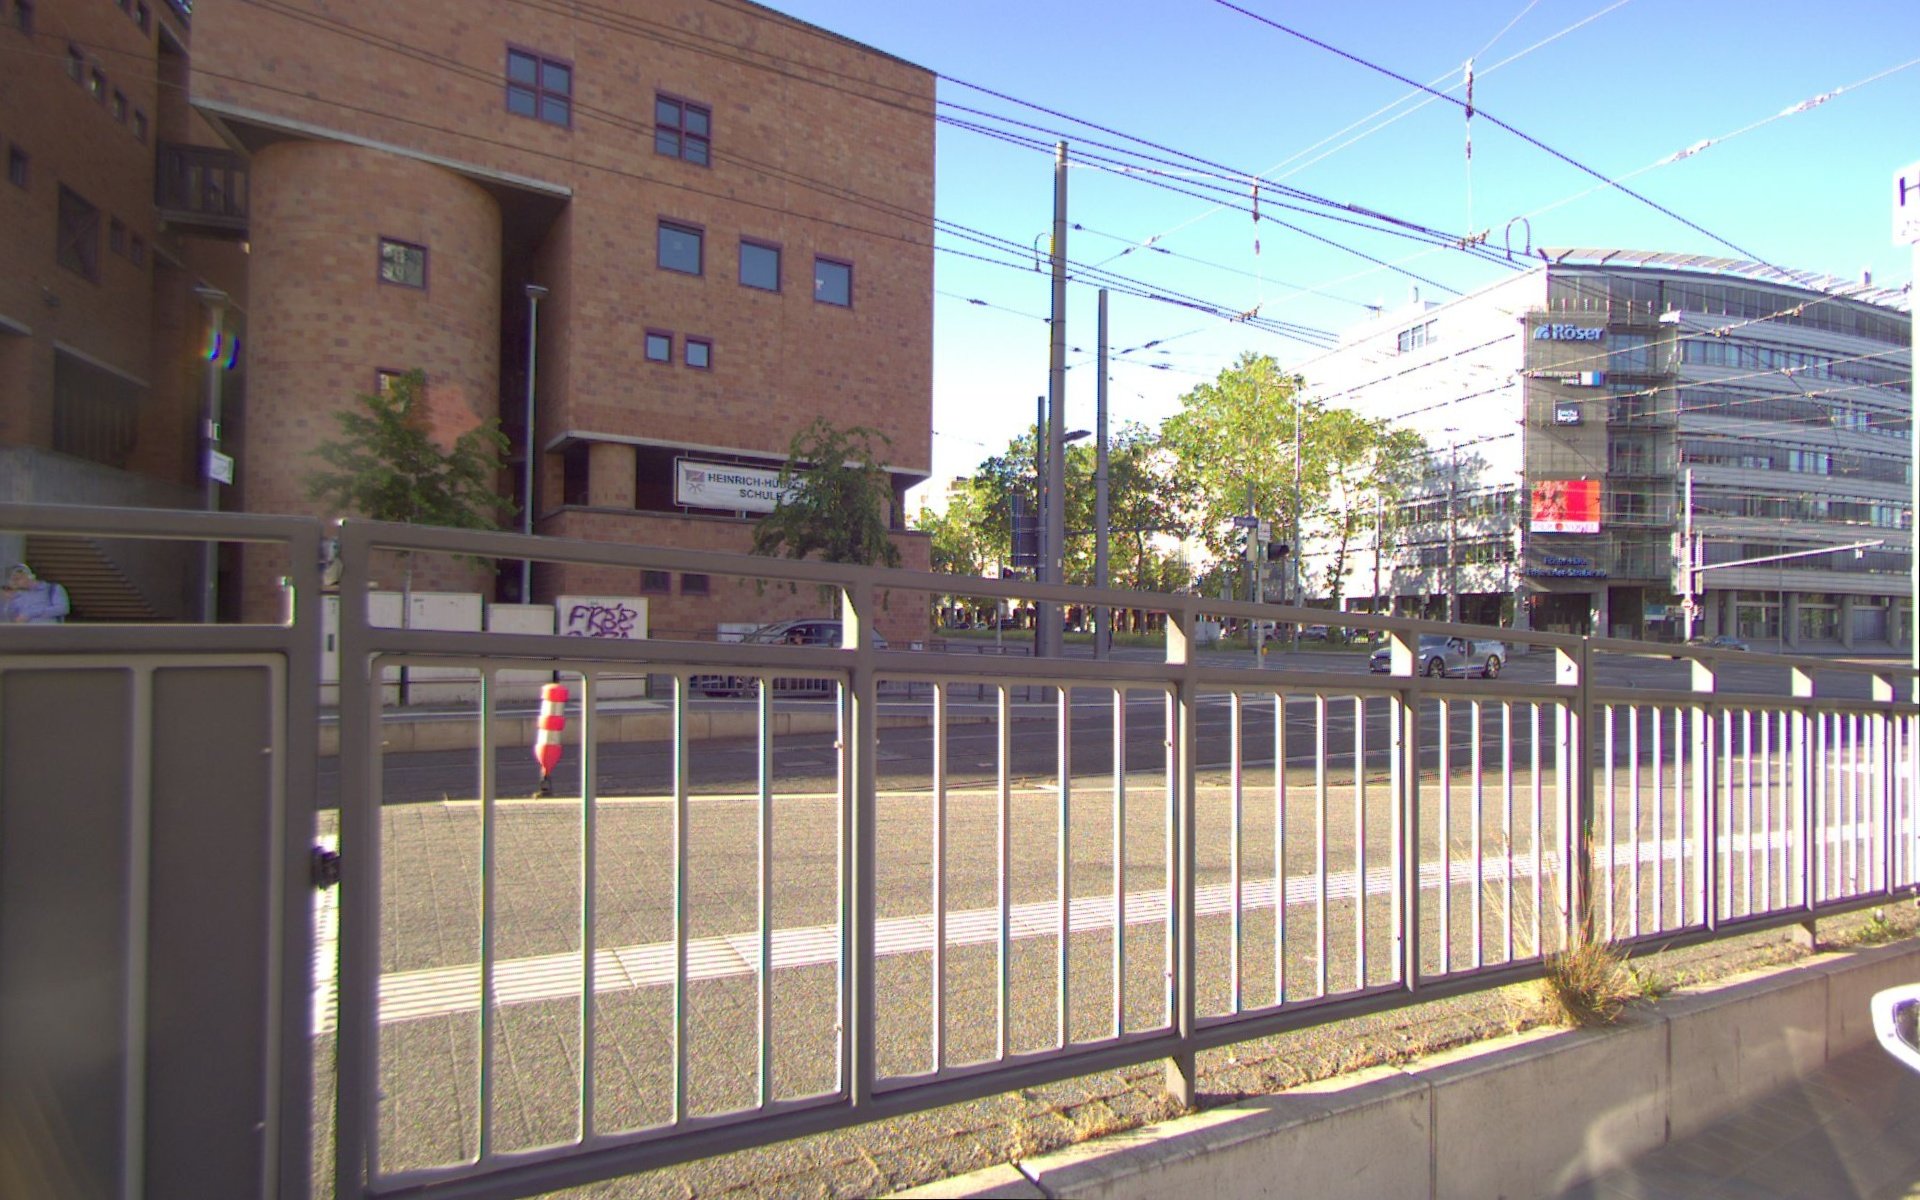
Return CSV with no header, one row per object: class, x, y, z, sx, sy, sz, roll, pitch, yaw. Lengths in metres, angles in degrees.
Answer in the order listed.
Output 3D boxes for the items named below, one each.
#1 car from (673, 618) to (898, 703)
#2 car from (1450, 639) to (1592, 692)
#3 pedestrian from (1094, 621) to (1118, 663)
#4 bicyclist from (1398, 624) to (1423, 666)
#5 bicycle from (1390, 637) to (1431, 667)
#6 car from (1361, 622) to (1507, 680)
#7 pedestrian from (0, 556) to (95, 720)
car,-3.540,1.211,20.650,4.198,1.589,1.814,2,-2,-34
car,13.629,1.550,24.462,2.841,1.077,1.238,2,0,40
pedestrian,6.221,1.792,42.890,0.785,1.714,0.587,2,0,-29
bicyclist,17.196,1.711,38.352,0.642,1.554,0.584,2,0,-30
bicycle,17.169,1.996,38.281,1.793,1.104,0.458,2,-3,-30
car,14.031,1.503,29.652,4.646,1.589,1.814,2,-2,-34
pedestrian,-9.638,0.387,10.582,0.679,1.656,0.662,2,0,-34
